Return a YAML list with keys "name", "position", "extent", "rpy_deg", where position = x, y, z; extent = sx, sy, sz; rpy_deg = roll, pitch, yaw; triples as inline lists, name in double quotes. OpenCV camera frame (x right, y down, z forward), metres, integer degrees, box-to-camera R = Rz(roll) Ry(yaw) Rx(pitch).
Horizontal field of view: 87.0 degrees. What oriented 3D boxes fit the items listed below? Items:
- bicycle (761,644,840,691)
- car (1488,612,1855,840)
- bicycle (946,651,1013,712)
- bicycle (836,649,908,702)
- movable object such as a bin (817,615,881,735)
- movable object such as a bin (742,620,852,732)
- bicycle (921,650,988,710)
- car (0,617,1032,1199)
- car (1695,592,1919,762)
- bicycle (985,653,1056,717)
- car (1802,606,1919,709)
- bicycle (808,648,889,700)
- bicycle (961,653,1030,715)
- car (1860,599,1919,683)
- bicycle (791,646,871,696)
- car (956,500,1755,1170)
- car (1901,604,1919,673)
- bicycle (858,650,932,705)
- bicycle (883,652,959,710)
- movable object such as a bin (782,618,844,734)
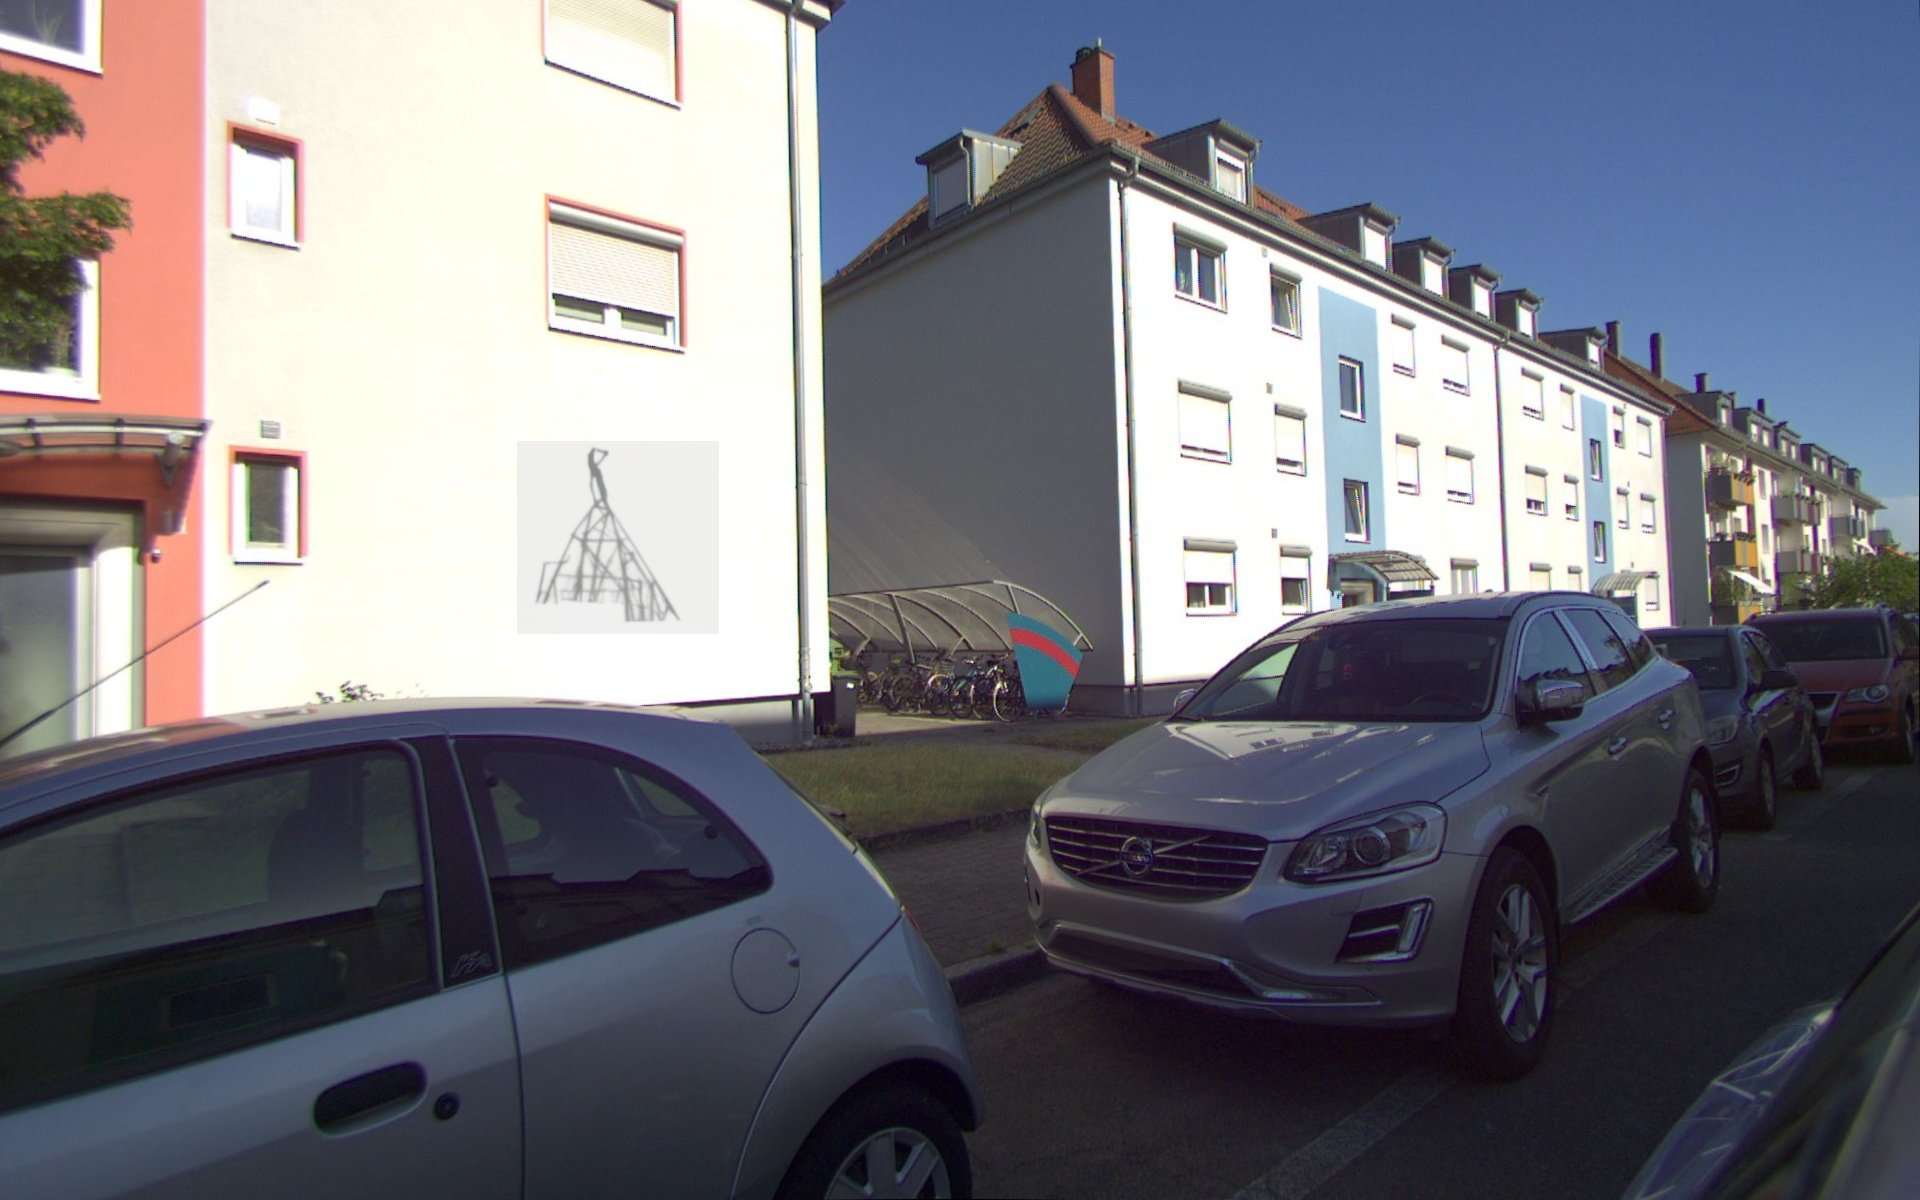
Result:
- name: "bicycle"
  position: [-3.505, 1.467, 22.280]
  extent: [1.706, 0.958, 0.422]
  rpy_deg: [0, -1, -33]
- name: "car"
  position: [6.101, 0.901, 8.516]
  extent: [3.791, 1.468, 1.618]
  rpy_deg: [0, -5, -42]
- name: "bicycle"
  position: [0.346, 1.389, 17.458]
  extent: [1.260, 0.958, 0.319]
  rpy_deg: [0, -1, -39]
- name: "bicycle"
  position: [-1.710, 1.458, 19.759]
  extent: [1.481, 0.958, 0.319]
  rpy_deg: [0, -1, -39]
- name: "movable object such as a bin"
  position: [-1.502, 0.997, 13.714]
  extent: [0.613, 1.572, 0.595]
  rpy_deg: [1, -3, -40]
- name: "movable object such as a bin"
  position: [-2.456, 1.099, 15.225]
  extent: [1.124, 1.572, 1.297]
  rpy_deg: [0, -2, -40]
- name: "bicycle"
  position: [-0.089, 1.394, 17.802]
  extent: [1.260, 0.958, 0.319]
  rpy_deg: [0, -1, -39]
- name: "car"
  position: [-1.689, 0.823, 1.921]
  extent: [3.427, 1.413, 1.630]
  rpy_deg: [0, -6, -41]
- name: "car"
  position: [10.224, 0.769, 11.793]
  extent: [4.346, 1.627, 1.729]
  rpy_deg: [0, -2, -41]
- name: "bicycle"
  position: [0.997, 1.363, 16.445]
  extent: [1.260, 0.958, 0.319]
  rpy_deg: [0, -1, -39]
- name: "car"
  position: [15.730, 0.917, 17.023]
  extent: [3.808, 1.545, 1.706]
  rpy_deg: [0, -6, -41]
- name: "bicycle"
  position: [-2.257, 1.498, 20.703]
  extent: [1.709, 0.958, 0.421]
  rpy_deg: [0, -1, -40]
- name: "bicycle"
  position: [0.605, 1.399, 17.022]
  extent: [1.260, 0.958, 0.319]
  rpy_deg: [0, -1, -39]
- name: "car"
  position: [19.762, 0.790, 20.564]
  extent: [3.808, 1.591, 1.707]
  rpy_deg: [0, -2, -41]
- name: "bicycle"
  position: [-2.696, 1.466, 21.226]
  extent: [1.709, 0.958, 0.421]
  rpy_deg: [0, -1, -40]
- name: "car"
  position: [2.161, 0.678, 4.775]
  extent: [4.235, 1.742, 1.776]
  rpy_deg: [0, -5, -43]
- name: "car"
  position: [24.076, 0.868, 24.310]
  extent: [3.970, 1.591, 1.707]
  rpy_deg: [0, -2, -41]
- name: "bicycle"
  position: [-1.222, 1.451, 19.137]
  extent: [1.481, 0.958, 0.319]
  rpy_deg: [0, -1, -39]
- name: "bicycle"
  position: [-0.691, 1.445, 18.361]
  extent: [1.481, 0.958, 0.319]
  rpy_deg: [0, -1, -39]
- name: "movable object such as a bin"
  position: [-2.064, 1.042, 14.193]
  extent: [0.613, 1.572, 0.595]
  rpy_deg: [1, -3, -40]
